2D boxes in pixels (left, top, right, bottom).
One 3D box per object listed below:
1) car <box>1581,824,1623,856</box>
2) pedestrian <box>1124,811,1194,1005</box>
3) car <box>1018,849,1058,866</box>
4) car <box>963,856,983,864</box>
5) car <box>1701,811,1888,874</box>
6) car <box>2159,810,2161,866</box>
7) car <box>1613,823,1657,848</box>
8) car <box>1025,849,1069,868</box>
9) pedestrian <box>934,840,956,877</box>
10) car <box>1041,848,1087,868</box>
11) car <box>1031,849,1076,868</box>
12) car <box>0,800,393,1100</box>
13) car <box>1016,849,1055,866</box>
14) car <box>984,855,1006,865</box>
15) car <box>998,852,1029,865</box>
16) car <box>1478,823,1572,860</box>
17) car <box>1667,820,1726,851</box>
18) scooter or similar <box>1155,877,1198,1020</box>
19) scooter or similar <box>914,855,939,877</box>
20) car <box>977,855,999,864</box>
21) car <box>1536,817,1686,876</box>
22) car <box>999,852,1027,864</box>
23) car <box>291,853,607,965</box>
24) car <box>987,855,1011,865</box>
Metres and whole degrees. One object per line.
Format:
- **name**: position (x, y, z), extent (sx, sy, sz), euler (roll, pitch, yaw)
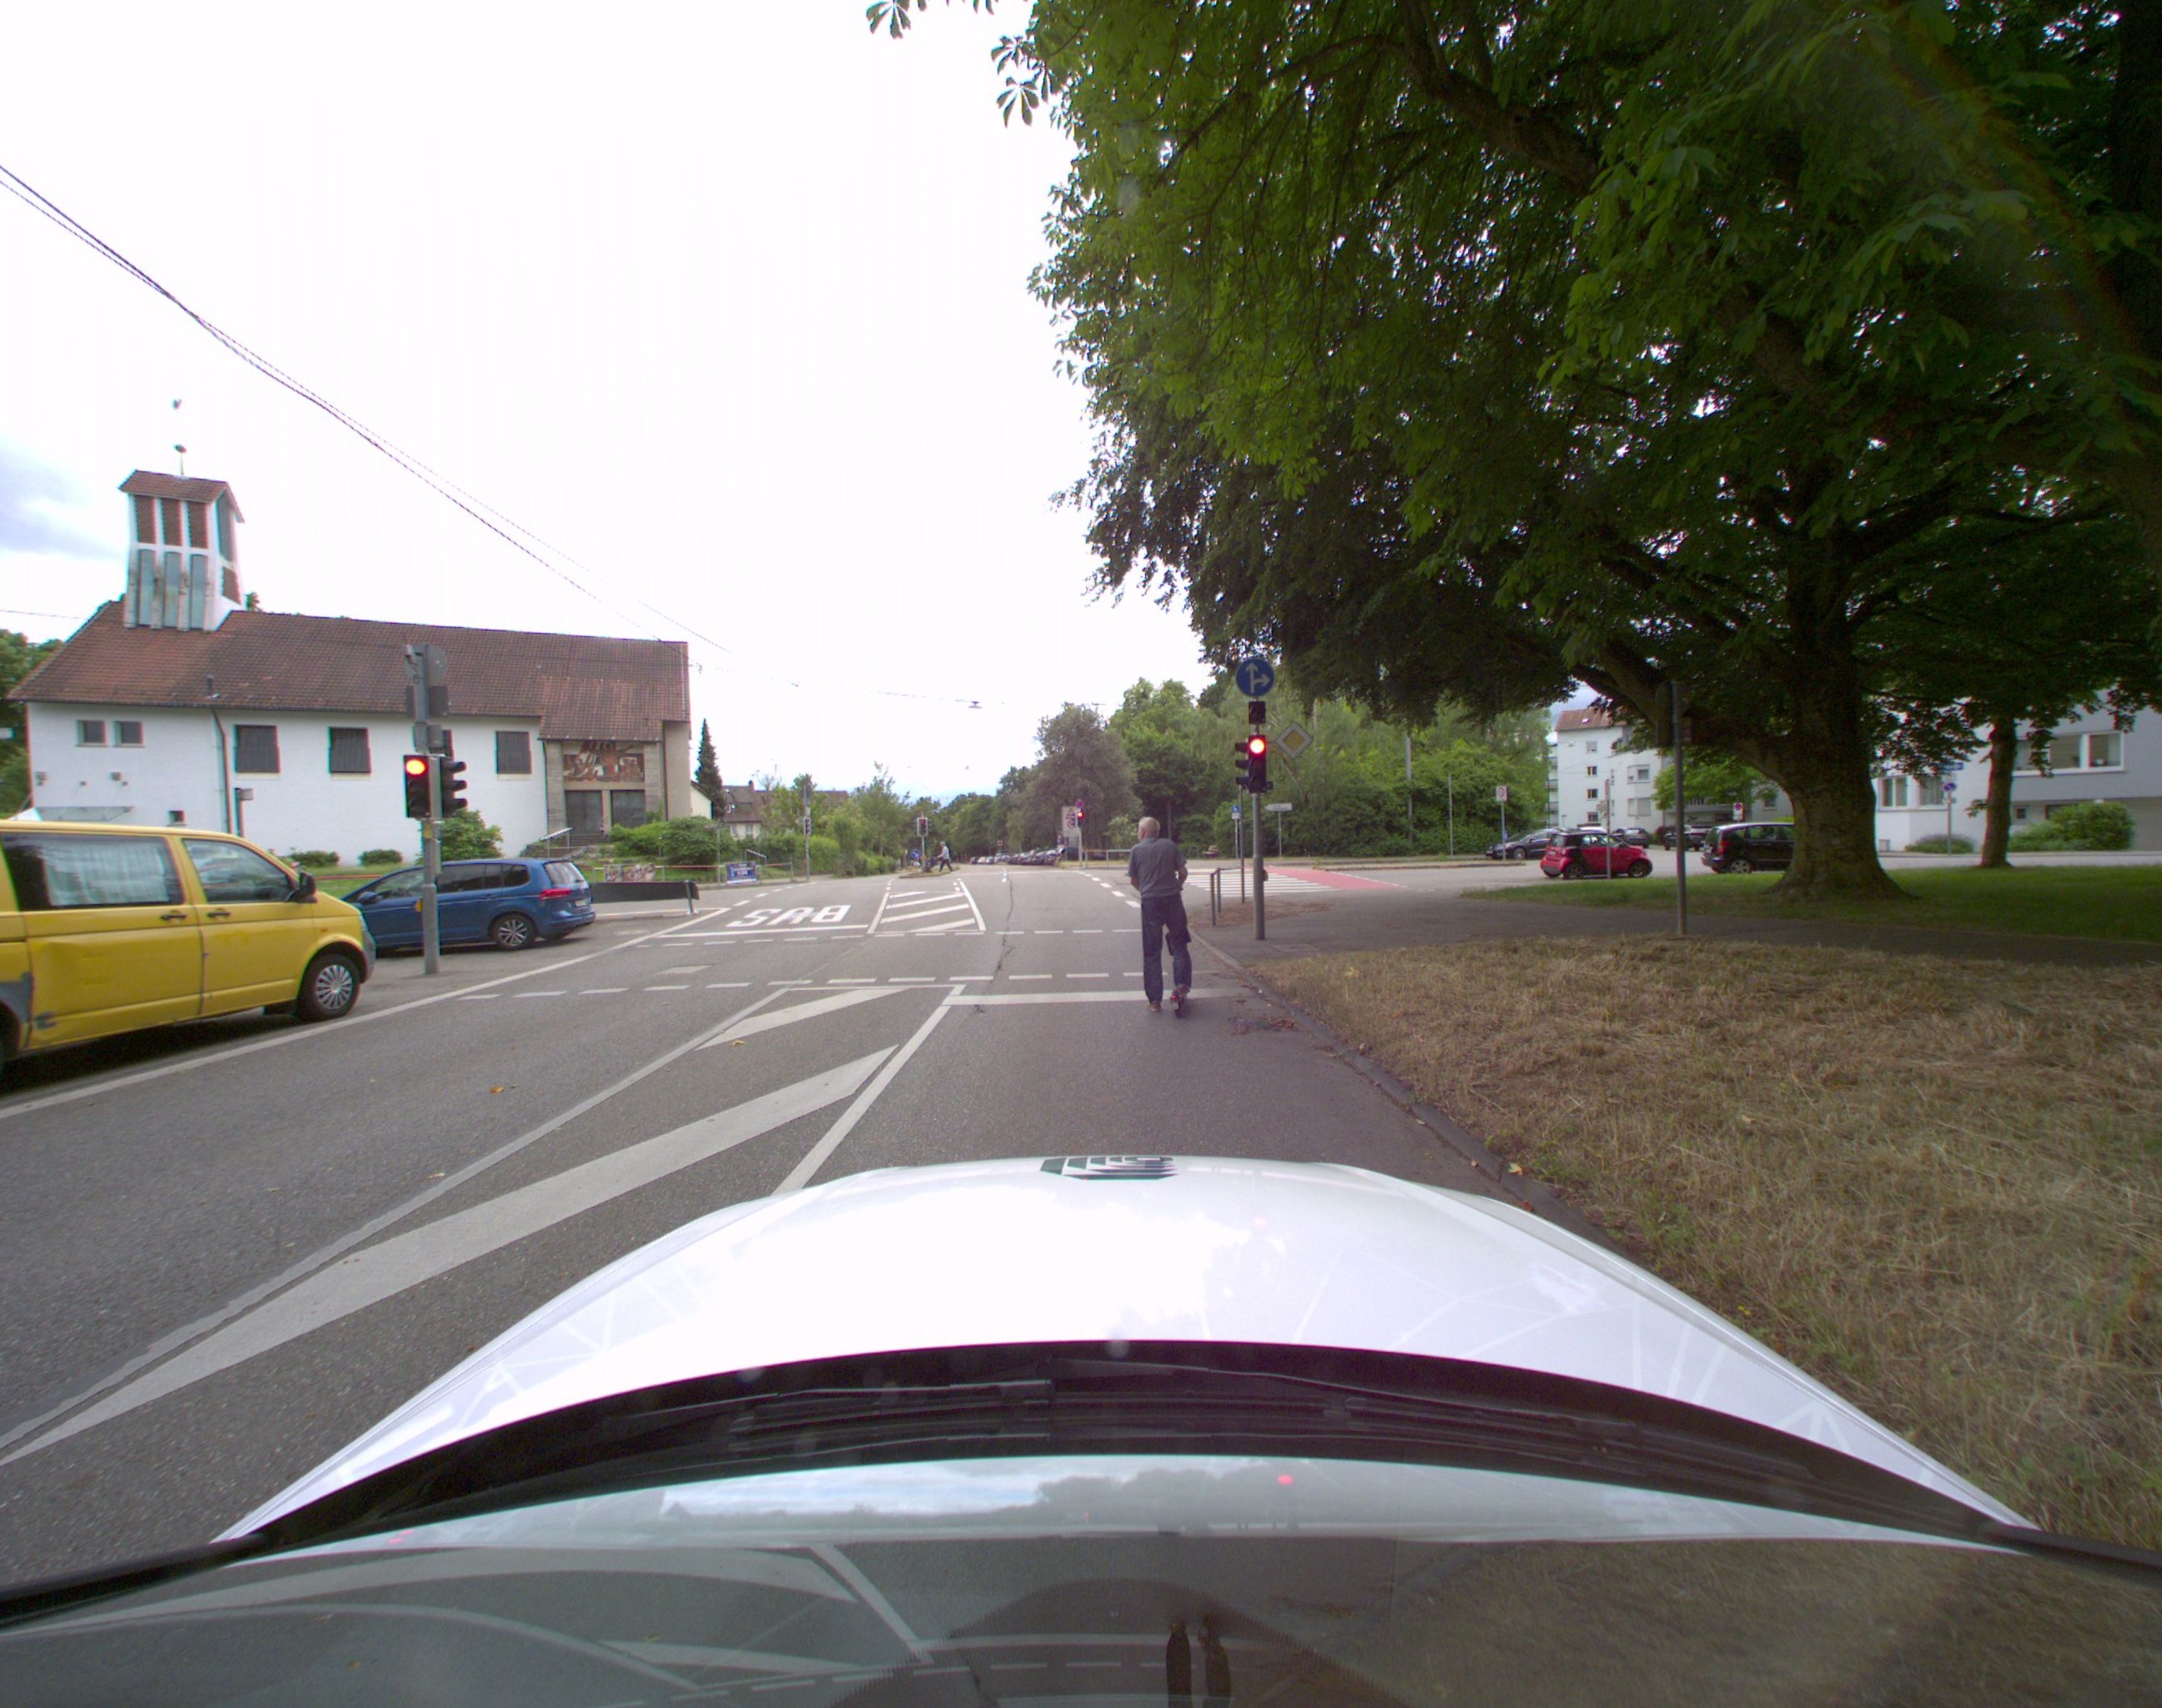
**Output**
- **car**: position (28.770, -0.815, 45.086), extent (1.706, 1.610, 3.878), euler (-3, 1, 30)
- **pedestrian**: position (0.759, 0.510, 7.853), extent (0.569, 1.813, 0.421), euler (-2, 0, 10)
- **car**: position (-4.638, 0.371, 87.128), extent (3.856, 1.610, 1.716), euler (-3, 1, -21)
- **car**: position (-23.402, 1.342, 176.612), extent (3.856, 1.610, 1.716), euler (-3, 1, -21)
- **car**: position (20.826, -0.313, 23.990), extent (3.805, 1.610, 1.739), euler (-3, 1, 27)
- **car**: position (27.860, -0.318, 18.465), extent (3.805, 1.610, 1.739), euler (-3, 1, 43)
- **car**: position (38.933, -1.309, 57.335), extent (1.707, 1.610, 3.875), euler (-3, 1, 22)
- **car**: position (-3.312, 0.423, 79.743), extent (3.856, 1.610, 1.716), euler (-3, 1, -21)
- **pedestrian**: position (-7.065, 0.215, 42.270), extent (0.890, 1.862, 0.569), euler (-2, 0, -32)
- **car**: position (-1.613, 0.388, 75.188), extent (3.854, 1.610, 1.717), euler (-3, 1, -19)
- **car**: position (-2.624, 0.415, 77.183), extent (3.857, 1.610, 1.715), euler (-3, 1, -22)
- **car**: position (-8.296, 0.672, 6.514), extent (1.880, 2.013, 4.558), euler (-2, 0, -5)
- **car**: position (-4.971, 0.376, 89.550), extent (3.856, 1.610, 1.716), euler (-3, 1, -21)
- **car**: position (-16.419, 1.080, 154.870), extent (3.856, 1.610, 1.716), euler (-3, 1, -21)
- **car**: position (-9.101, 0.615, 109.523), extent (3.856, 1.610, 1.716), euler (-3, 1, -21)
- **car**: position (21.098, -0.585, 38.791), extent (3.498, 1.530, 1.732), euler (-3, 0, 8)
- **car**: position (35.552, -1.096, 47.123), extent (1.707, 1.610, 3.875), euler (-3, 1, 22)
- **scooter or similar**: position (0.908, 0.832, 7.603), extent (0.280, 1.178, 1.180), euler (-2, 0, 10)
- **scooter or similar**: position (-7.904, 0.625, 41.683), extent (1.115, 1.081, 0.572), euler (-2, 0, -32)
- **car**: position (-18.225, 1.045, 159.620), extent (3.856, 1.610, 1.716), euler (-3, 1, -21)
- **car**: position (16.519, -0.226, 25.545), extent (3.499, 1.610, 1.732), euler (-3, 0, 7)
- **car**: position (-10.181, 0.561, 122.526), extent (3.856, 1.610, 1.716), euler (-3, 1, -21)
- **car**: position (-11.065, 0.900, 14.598), extent (3.992, 1.610, 1.810), euler (-3, 1, -14)
- **car**: position (-14.397, 1.057, 143.510), extent (3.856, 1.610, 1.716), euler (-3, 1, -21)
